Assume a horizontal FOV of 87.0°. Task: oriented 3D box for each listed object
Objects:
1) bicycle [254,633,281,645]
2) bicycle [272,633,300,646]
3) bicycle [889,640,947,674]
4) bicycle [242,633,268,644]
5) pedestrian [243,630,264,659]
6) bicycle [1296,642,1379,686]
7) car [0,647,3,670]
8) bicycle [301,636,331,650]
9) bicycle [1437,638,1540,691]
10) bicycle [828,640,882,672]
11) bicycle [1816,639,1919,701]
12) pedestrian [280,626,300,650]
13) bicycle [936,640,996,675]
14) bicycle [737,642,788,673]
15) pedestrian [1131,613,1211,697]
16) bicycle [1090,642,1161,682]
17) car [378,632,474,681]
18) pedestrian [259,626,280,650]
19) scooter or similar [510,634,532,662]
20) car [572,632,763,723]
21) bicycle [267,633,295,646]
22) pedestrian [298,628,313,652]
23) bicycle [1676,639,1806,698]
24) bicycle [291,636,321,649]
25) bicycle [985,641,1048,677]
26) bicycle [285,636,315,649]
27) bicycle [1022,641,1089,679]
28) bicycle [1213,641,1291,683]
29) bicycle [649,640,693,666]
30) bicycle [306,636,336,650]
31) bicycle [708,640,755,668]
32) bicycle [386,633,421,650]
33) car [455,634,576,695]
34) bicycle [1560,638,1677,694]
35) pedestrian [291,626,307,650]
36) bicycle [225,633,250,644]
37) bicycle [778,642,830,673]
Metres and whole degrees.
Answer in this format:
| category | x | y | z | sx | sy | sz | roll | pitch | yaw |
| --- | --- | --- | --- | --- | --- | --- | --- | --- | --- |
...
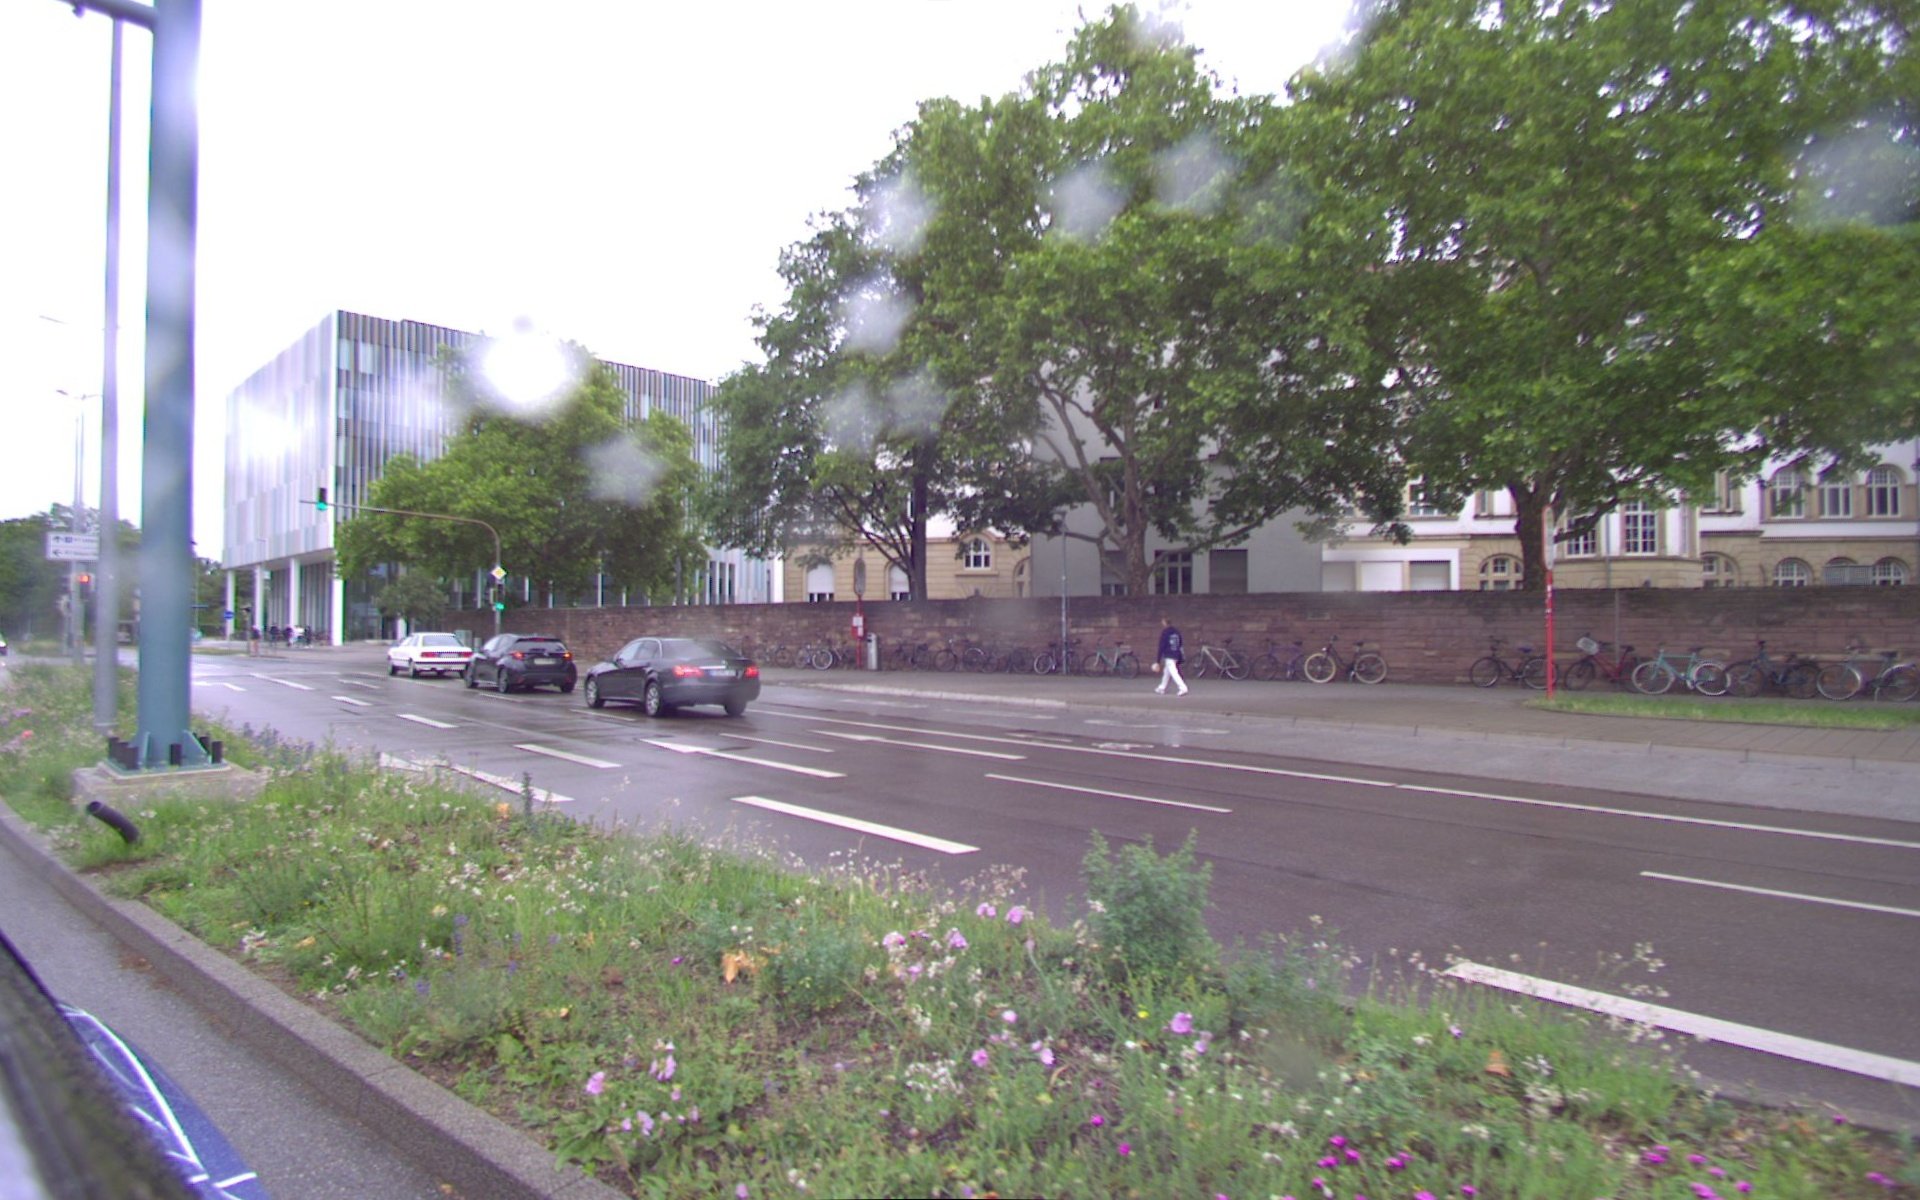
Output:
| category | x | y | z | sx | sy | sz | roll | pitch | yaw |
| --- | --- | --- | --- | --- | --- | --- | --- | --- | --- |
| bicycle | -70.313 | 3.927 | 102.778 | 2.248 | 1.231 | 0.600 | 1 | -2 | -34 |
| bicycle | -65.803 | 3.865 | 98.778 | 2.248 | 1.231 | 0.600 | 1 | -2 | -34 |
| bicycle | -1.290 | 1.735 | 30.889 | 1.698 | 0.990 | 0.724 | -1 | -2 | 36 |
| bicycle | -75.414 | 4.122 | 108.227 | 2.248 | 1.231 | 0.600 | 1 | -2 | -34 |
| pedestrian | -45.595 | 2.850 | 65.345 | 0.791 | 1.838 | 0.780 | -1 | -2 | 24 |
| bicycle | 8.906 | 1.496 | 23.896 | 1.698 | 0.990 | 0.724 | -1 | -2 | 36 |
| car | -59.422 | 3.562 | 61.579 | 1.637 | 1.375 | 4.109 | 2 | -3 | -45 |
| bicycle | -59.187 | 3.914 | 92.967 | 0.597 | 1.231 | 2.259 | -2 | -2 | 34 |
| bicycle | 11.718 | 1.410 | 22.484 | 1.982 | 1.144 | 0.569 | -1 | -2 | 28 |
| bicycle | -3.391 | 1.800 | 32.686 | 1.698 | 0.990 | 0.724 | -1 | -2 | 36 |
| bicycle | 17.587 | 1.320 | 19.168 | 1.984 | 1.144 | 0.568 | -1 | -2 | 31 |
| pedestrian | -52.050 | 2.927 | 78.651 | 0.918 | 1.838 | 0.932 | -1 | -2 | 24 |
| bicycle | 0.169 | 1.698 | 29.925 | 1.698 | 0.990 | 0.724 | -1 | -2 | 36 |
| bicycle | -6.815 | 1.966 | 34.851 | 1.863 | 0.990 | 0.723 | -2 | -2 | 40 |
| pedestrian | 4.461 | 1.145 | 21.414 | 1.399 | 1.708 | 0.859 | -2 | -2 | 41 |
| bicycle | 4.312 | 1.607 | 26.420 | 1.698 | 0.990 | 0.724 | -1 | -2 | 36 |
| car | -17.005 | 1.760 | 32.126 | 1.576 | 1.426 | 4.529 | 3 | -4 | -42 |
| pedestrian | -53.200 | 2.907 | 78.002 | 0.915 | 1.838 | 0.934 | -1 | -2 | 17 |
| scooter or similar | -20.092 | 2.191 | 46.321 | 1.142 | 1.206 | 0.387 | -2 | 4 | 42 |
| car | -5.794 | 1.422 | 19.661 | 1.786 | 1.552 | 4.710 | 3 | -4 | -40 |
| bicycle | -67.813 | 3.932 | 101.062 | 2.248 | 1.231 | 0.600 | 1 | -2 | -34 |
| pedestrian | -49.655 | 3.010 | 76.785 | 0.621 | 1.838 | 0.780 | -1 | -2 | 23 |
| bicycle | 15.646 | 1.359 | 20.345 | 1.984 | 1.144 | 0.568 | -1 | -2 | 31 |
| bicycle | -60.528 | 3.940 | 93.628 | 0.597 | 1.231 | 2.259 | -2 | -2 | 34 |
| bicycle | 1.607 | 1.678 | 28.955 | 1.698 | 0.990 | 0.724 | -1 | -2 | 36 |
| bicycle | -61.475 | 3.962 | 94.238 | 0.597 | 1.231 | 2.259 | -2 | -2 | 34 |
| bicycle | 2.641 | 1.646 | 28.082 | 1.698 | 0.990 | 0.724 | -1 | -2 | 36 |
| bicycle | 7.253 | 1.532 | 25.166 | 1.698 | 0.990 | 0.724 | -1 | -2 | 36 |
| bicycle | -11.105 | 2.027 | 38.895 | 1.698 | 0.990 | 0.724 | -1 | -2 | 36 |
| bicycle | -58.529 | 3.905 | 92.747 | 0.597 | 1.231 | 2.259 | -2 | -2 | 34 |
| bicycle | -8.241 | 1.940 | 36.508 | 1.698 | 0.990 | 0.724 | -1 | -2 | 36 |
| bicycle | -40.960 | 3.057 | 74.488 | 0.597 | 1.231 | 2.259 | -2 | -2 | 34 |
| car | -11.425 | 1.613 | 25.904 | 1.604 | 1.426 | 4.071 | 3 | -4 | -42 |
| bicycle | 13.794 | 1.365 | 21.258 | 1.982 | 1.144 | 0.569 | -1 | -2 | 28 |
| pedestrian | -50.991 | 2.902 | 78.035 | 0.621 | 1.838 | 0.780 | -1 | -2 | 23 |
| bicycle | -80.643 | 4.292 | 112.914 | 2.248 | 1.231 | 0.600 | 1 | -2 | -34 |
| bicycle | -5.214 | 1.898 | 33.850 | 1.698 | 0.990 | 0.724 | -1 | -2 | 36 |
